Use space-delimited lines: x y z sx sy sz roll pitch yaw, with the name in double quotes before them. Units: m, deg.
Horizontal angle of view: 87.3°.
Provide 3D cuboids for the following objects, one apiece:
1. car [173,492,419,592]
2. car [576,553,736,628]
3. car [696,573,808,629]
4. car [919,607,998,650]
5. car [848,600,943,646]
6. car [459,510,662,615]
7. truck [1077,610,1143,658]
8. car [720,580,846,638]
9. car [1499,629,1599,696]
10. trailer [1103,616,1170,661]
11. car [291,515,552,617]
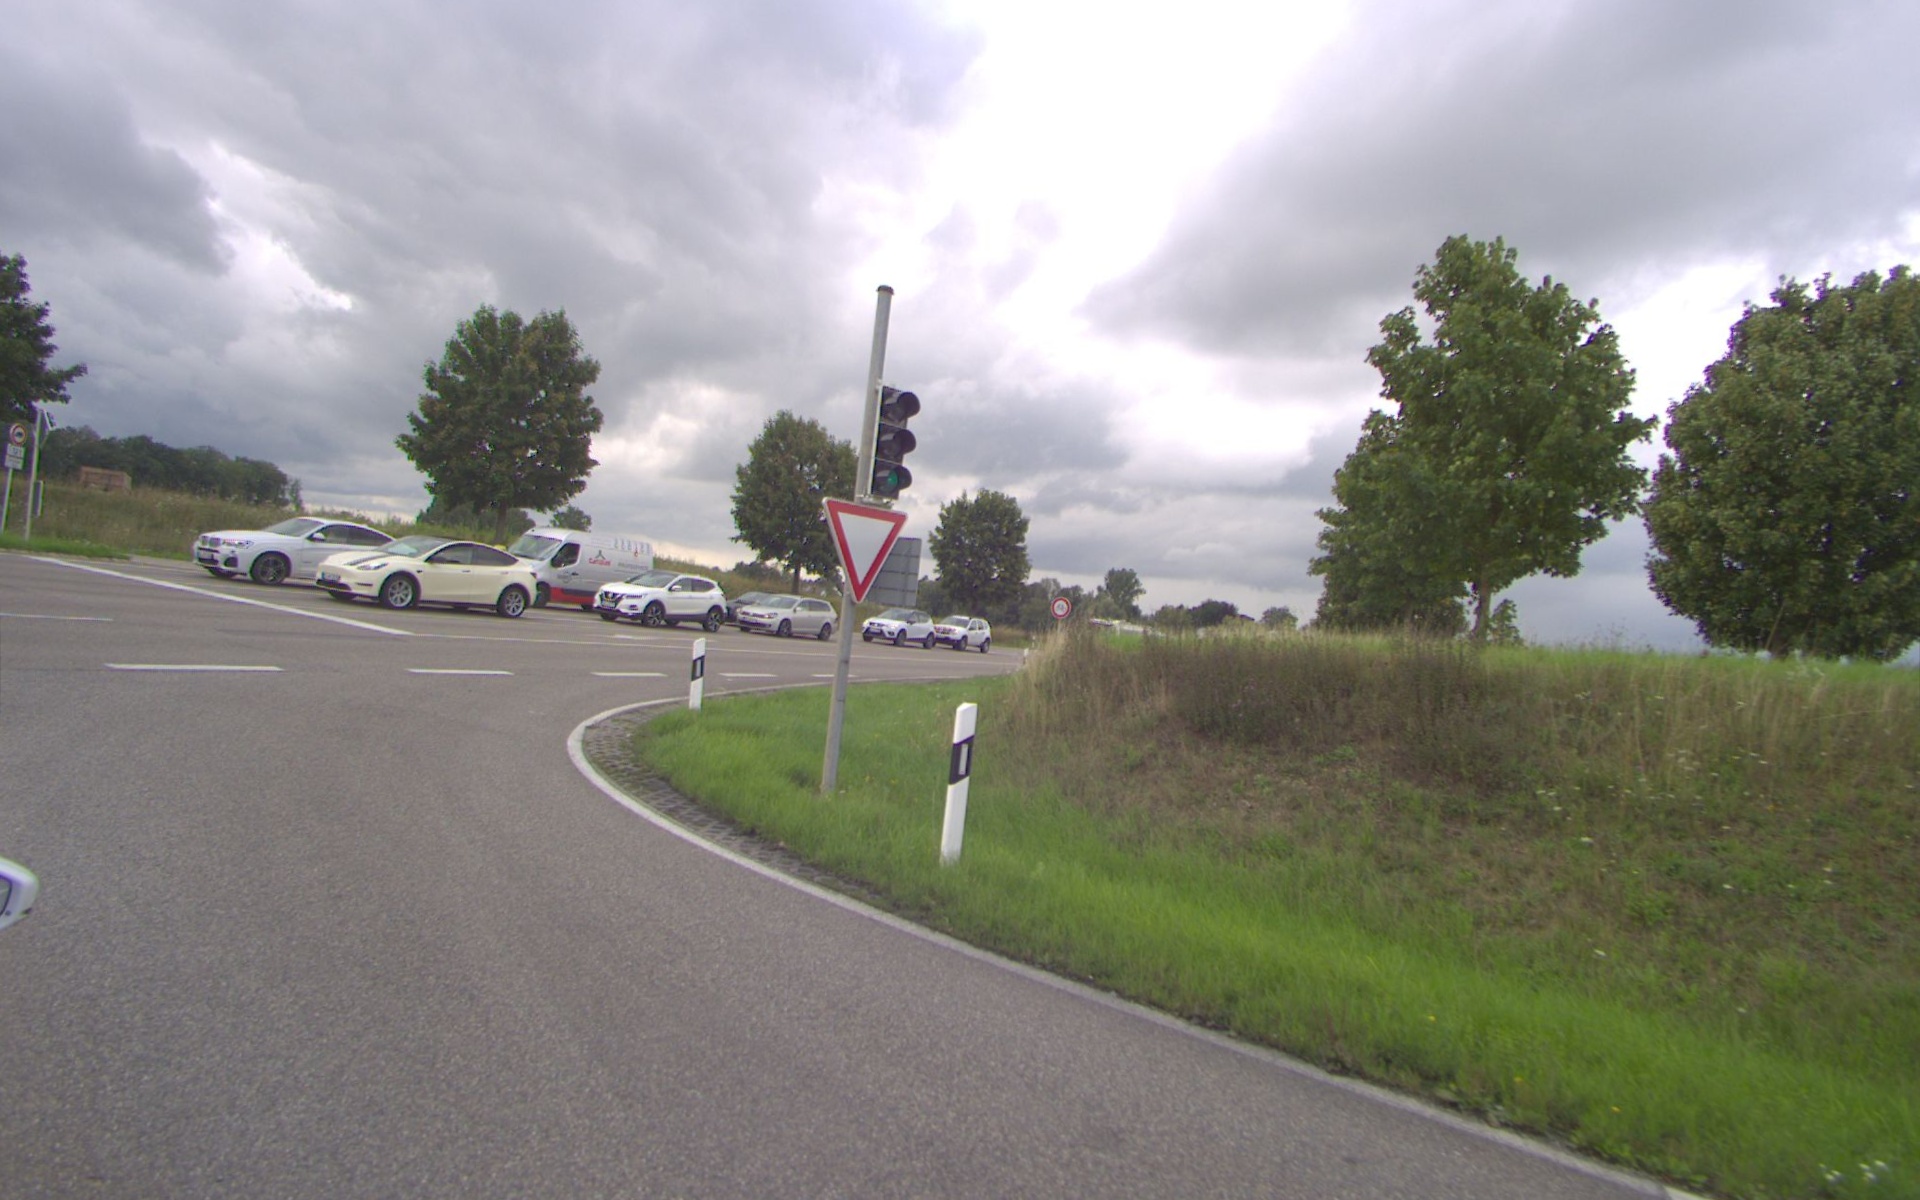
"car" -15.206 -1.270 23.326 1.964 1.648 4.274 6 -1 24
"car" -8.682 -0.228 29.170 1.964 1.649 4.322 6 -1 24
"car" -7.916 0.094 38.649 1.964 1.648 4.274 6 -1 24
"car" -0.026 1.389 47.802 1.964 1.611 4.446 8 -1 24
"car" -2.633 0.998 42.209 1.964 1.435 4.445 8 -1 25
"car" -12.125 -1.061 31.060 2.355 2.470 5.511 6 -1 25
"truck" 12.108 2.808 80.581 3.053 3.146 7.405 8 -1 24
"car" -6.059 0.358 35.050 1.964 1.472 4.580 8 -1 24
"car" 20.609 2.197 35.359 1.962 2.037 4.003 6 -2 17
"trailer" 15.721 3.476 88.808 3.053 3.127 10.659 8 -1 24
"car" -11.591 -0.660 22.078 1.964 1.583 4.747 6 -1 24
